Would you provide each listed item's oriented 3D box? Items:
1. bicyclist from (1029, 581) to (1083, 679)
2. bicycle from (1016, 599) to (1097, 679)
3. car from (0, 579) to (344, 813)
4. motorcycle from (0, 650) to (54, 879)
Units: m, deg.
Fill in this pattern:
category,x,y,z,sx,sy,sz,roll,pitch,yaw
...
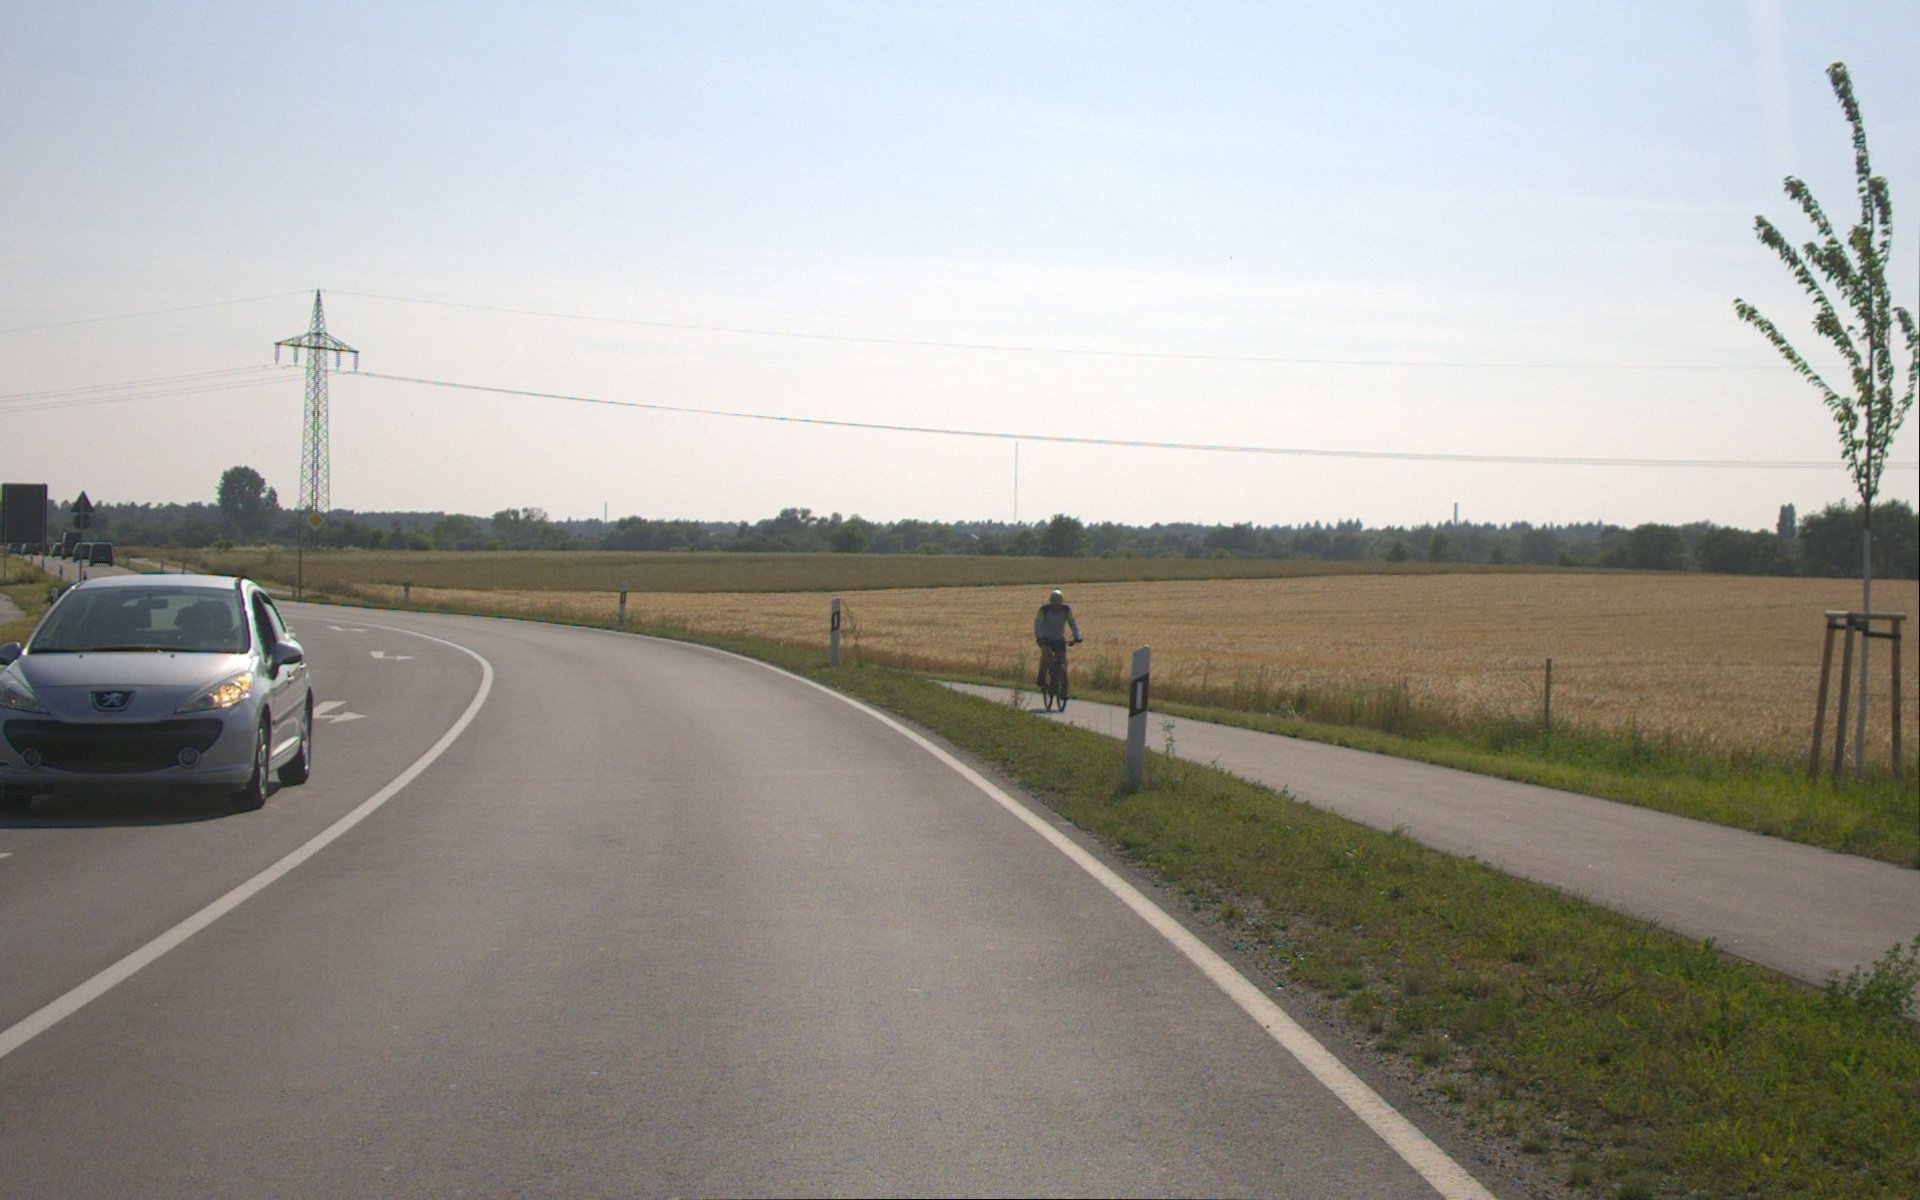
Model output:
category,x,y,z,sx,sy,sz,roll,pitch,yaw
bicyclist,1.472,0.452,52.664,0.637,1.452,0.817,3,0,-8
bicycle,1.464,0.589,52.569,0.845,1.138,2.207,3,0,-8
car,-5.244,0.567,22.750,1.686,1.398,4.000,0,1,-1
motorcycle,-5.034,0.800,16.552,0.871,1.070,1.969,0,1,-2
